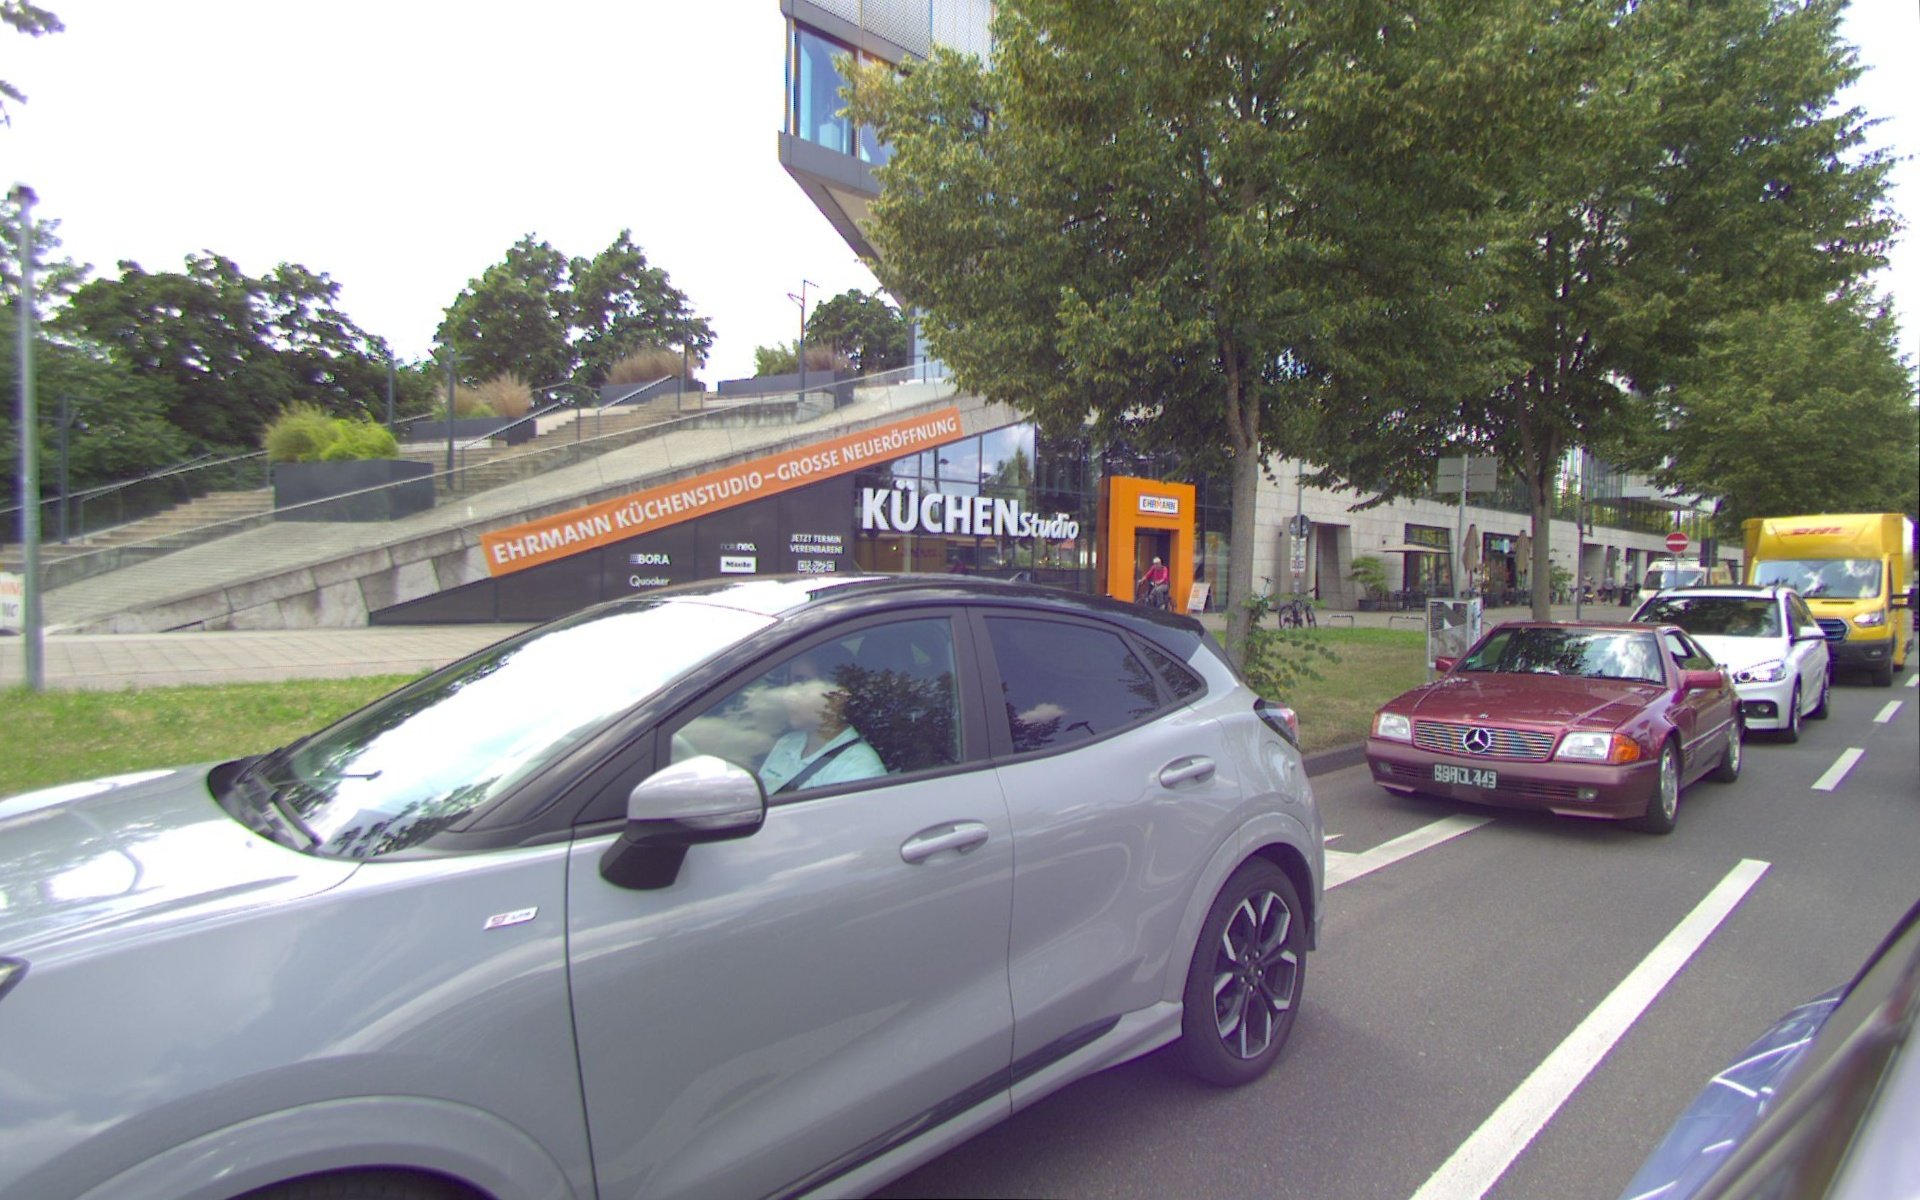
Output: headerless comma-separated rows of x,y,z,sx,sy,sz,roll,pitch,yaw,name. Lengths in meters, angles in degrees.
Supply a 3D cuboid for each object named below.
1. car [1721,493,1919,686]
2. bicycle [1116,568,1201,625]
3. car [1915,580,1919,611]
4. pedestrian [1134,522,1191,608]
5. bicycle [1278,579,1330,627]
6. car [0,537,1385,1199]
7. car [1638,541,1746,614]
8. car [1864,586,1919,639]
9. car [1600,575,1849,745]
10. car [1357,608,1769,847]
16.021,-0.217,18.516,7.136,2.889,2.280,-1,1,-44,car
4.860,-0.109,24.683,0.811,1.259,2.372,7,6,44,bicycle
52.929,-0.260,54.504,3.930,1.672,1.822,-1,0,-41,car
4.948,-0.848,24.746,1.212,2.038,0.753,0,2,-45,pedestrian
8.422,0.061,24.748,0.515,1.102,1.722,3,2,42,bicycle
-0.589,0.622,2.753,4.023,1.489,1.672,-1,3,-42,car
26.499,-0.778,36.532,6.175,2.424,2.157,-1,0,-44,car
34.098,0.407,36.349,4.223,1.783,1.996,-1,0,-42,car
8.894,0.555,11.640,4.059,1.619,1.671,0,0,-44,car
4.702,0.726,7.625,4.024,1.277,1.671,0,0,-44,car
